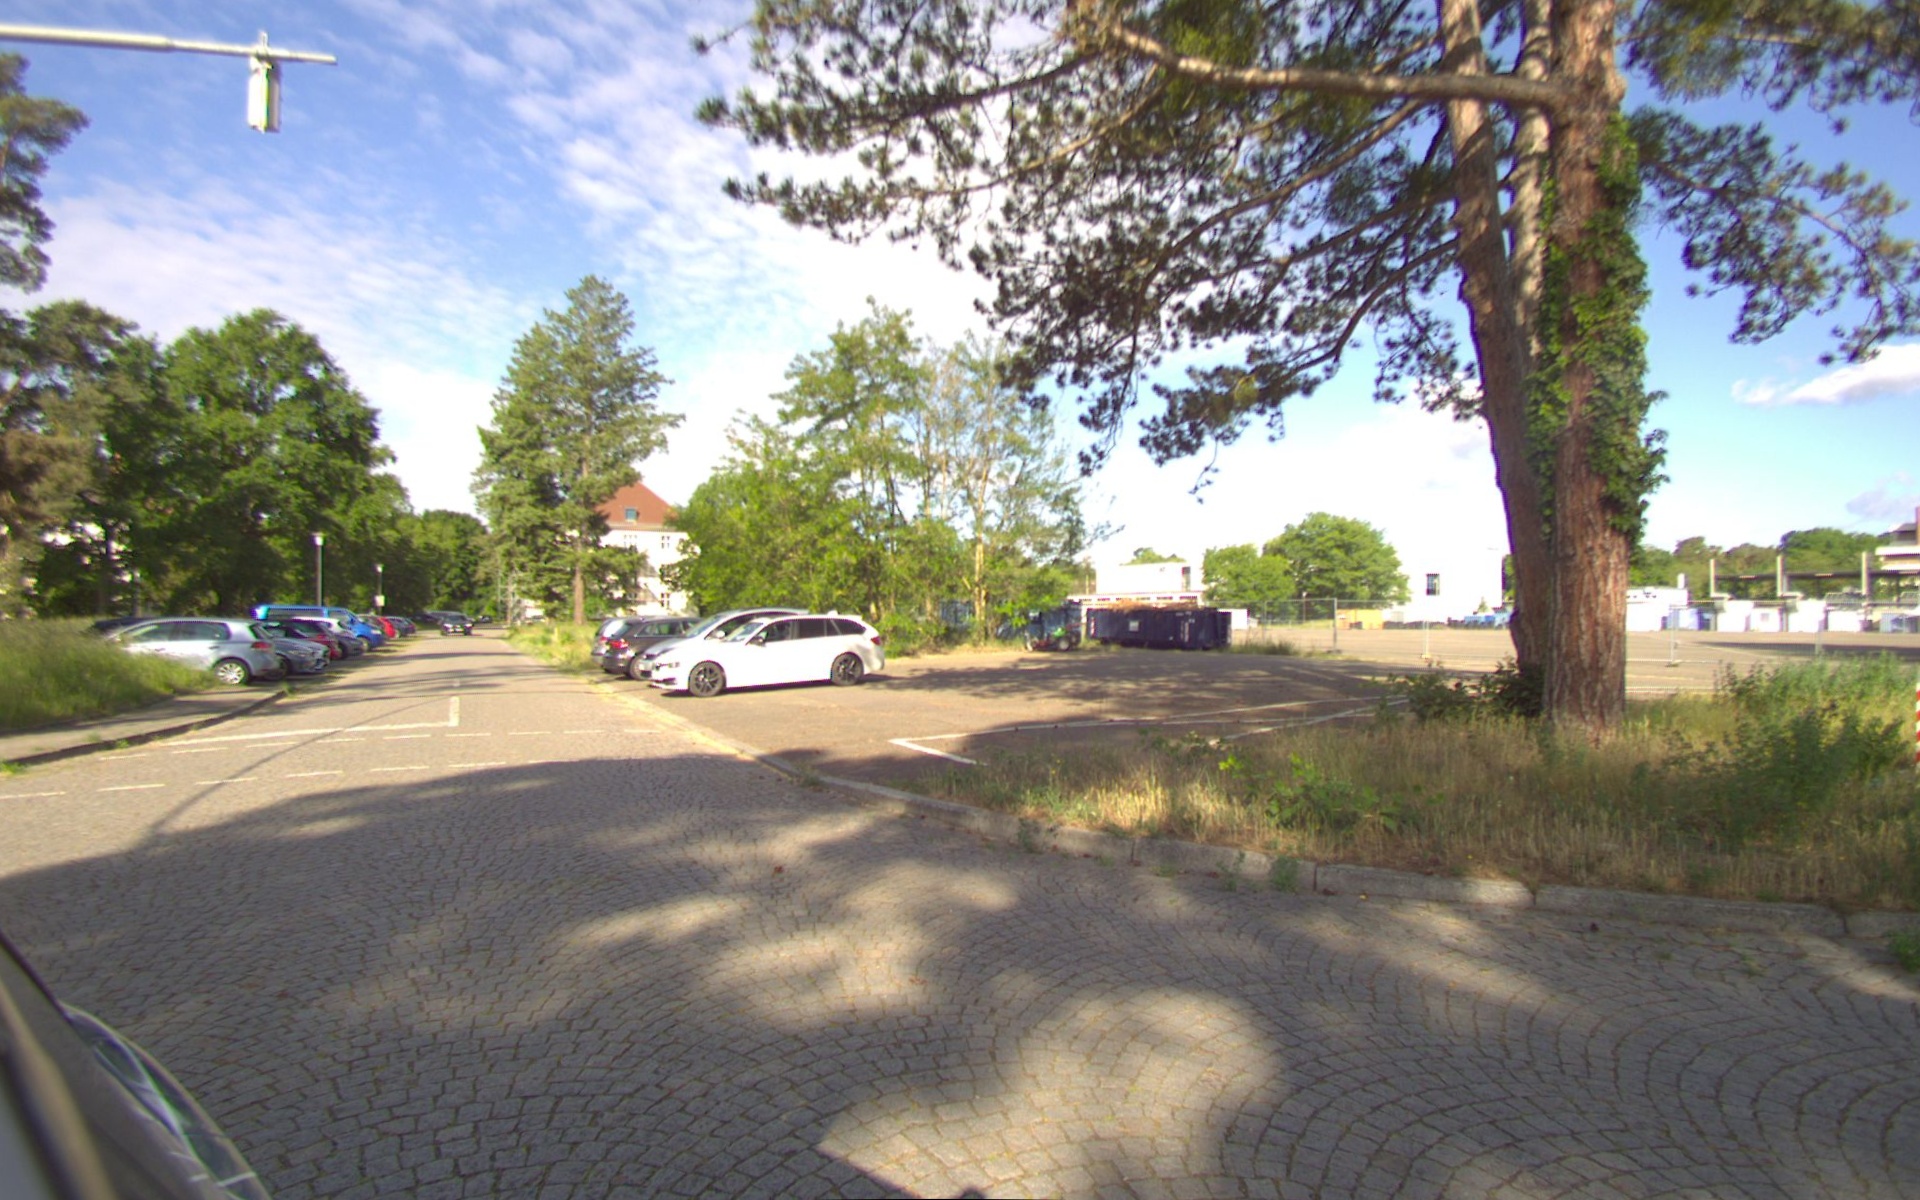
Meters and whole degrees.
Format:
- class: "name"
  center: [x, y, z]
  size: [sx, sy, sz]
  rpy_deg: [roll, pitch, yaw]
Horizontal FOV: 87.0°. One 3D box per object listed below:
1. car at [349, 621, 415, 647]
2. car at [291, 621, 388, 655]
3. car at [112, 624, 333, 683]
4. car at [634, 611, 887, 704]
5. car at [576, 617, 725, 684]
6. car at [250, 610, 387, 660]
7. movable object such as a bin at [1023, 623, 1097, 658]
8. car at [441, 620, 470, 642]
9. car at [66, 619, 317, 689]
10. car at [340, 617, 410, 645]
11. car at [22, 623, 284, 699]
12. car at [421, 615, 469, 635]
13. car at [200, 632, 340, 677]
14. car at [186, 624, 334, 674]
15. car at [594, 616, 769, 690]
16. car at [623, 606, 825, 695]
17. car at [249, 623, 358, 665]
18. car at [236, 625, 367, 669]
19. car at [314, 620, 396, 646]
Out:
- class: "car"
  center: [-42.037, 2.433, 73.688]
  size: [3.931, 1.627, 1.762]
  rpy_deg: [-3, 1, -21]
- class: "car"
  center: [-31.129, 1.869, 50.884]
  size: [3.930, 1.652, 1.762]
  rpy_deg: [1, -1, -23]
- class: "car"
  center: [-18.986, 1.388, 26.319]
  size: [4.349, 1.413, 1.832]
  rpy_deg: [2, -2, -27]
- class: "car"
  center: [-3.856, 1.051, 19.774]
  size: [4.477, 1.478, 1.758]
  rpy_deg: [-2, 0, -29]
- class: "car"
  center: [-8.119, 1.285, 26.580]
  size: [3.417, 1.482, 1.641]
  rpy_deg: [-3, 0, -29]
- class: "car"
  center: [-27.051, 1.476, 42.904]
  size: [4.648, 2.029, 2.007]
  rpy_deg: [1, -1, -24]
- class: "movable object such as a bin"
  center: [3.288, 1.330, 33.317]
  size: [2.246, 1.116, 1.001]
  rpy_deg: [1, -1, -28]
- class: "car"
  center: [-37.959, 2.293, 76.120]
  size: [1.837, 1.597, 4.013]
  rpy_deg: [1, -1, -28]
- class: "car"
  center: [-17.823, 1.246, 23.781]
  size: [4.432, 1.528, 1.832]
  rpy_deg: [2, -2, -29]
- class: "car"
  center: [-40.019, 2.126, 69.272]
  size: [3.931, 1.754, 1.762]
  rpy_deg: [-1, -1, -23]
- class: "car"
  center: [-16.797, 1.239, 21.343]
  size: [3.959, 1.471, 1.877]
  rpy_deg: [1, -2, -26]
- class: "car"
  center: [-60.558, 2.929, 119.114]
  size: [4.984, 2.282, 2.006]
  rpy_deg: [1, -1, -26]
- class: "car"
  center: [-20.727, 1.608, 30.525]
  size: [3.301, 1.265, 1.424]
  rpy_deg: [1, -1, -26]
- class: "car"
  center: [-22.468, 1.545, 32.624]
  size: [3.716, 1.502, 1.554]
  rpy_deg: [1, -1, -26]
- class: "car"
  center: [-6.680, 1.206, 24.273]
  size: [3.744, 1.482, 1.693]
  rpy_deg: [-3, 0, -27]
- class: "car"
  center: [-5.114, 1.028, 22.029]
  size: [3.889, 1.638, 1.727]
  rpy_deg: [-2, 0, -31]
- class: "car"
  center: [-24.628, 1.636, 38.065]
  size: [3.210, 1.502, 1.454]
  rpy_deg: [1, -1, -23]
- class: "car"
  center: [-23.091, 1.630, 35.629]
  size: [3.565, 1.502, 1.512]
  rpy_deg: [0, -1, -16]
- class: "car"
  center: [-35.875, 1.944, 60.134]
  size: [3.930, 1.530, 1.762]
  rpy_deg: [1, -1, -23]
